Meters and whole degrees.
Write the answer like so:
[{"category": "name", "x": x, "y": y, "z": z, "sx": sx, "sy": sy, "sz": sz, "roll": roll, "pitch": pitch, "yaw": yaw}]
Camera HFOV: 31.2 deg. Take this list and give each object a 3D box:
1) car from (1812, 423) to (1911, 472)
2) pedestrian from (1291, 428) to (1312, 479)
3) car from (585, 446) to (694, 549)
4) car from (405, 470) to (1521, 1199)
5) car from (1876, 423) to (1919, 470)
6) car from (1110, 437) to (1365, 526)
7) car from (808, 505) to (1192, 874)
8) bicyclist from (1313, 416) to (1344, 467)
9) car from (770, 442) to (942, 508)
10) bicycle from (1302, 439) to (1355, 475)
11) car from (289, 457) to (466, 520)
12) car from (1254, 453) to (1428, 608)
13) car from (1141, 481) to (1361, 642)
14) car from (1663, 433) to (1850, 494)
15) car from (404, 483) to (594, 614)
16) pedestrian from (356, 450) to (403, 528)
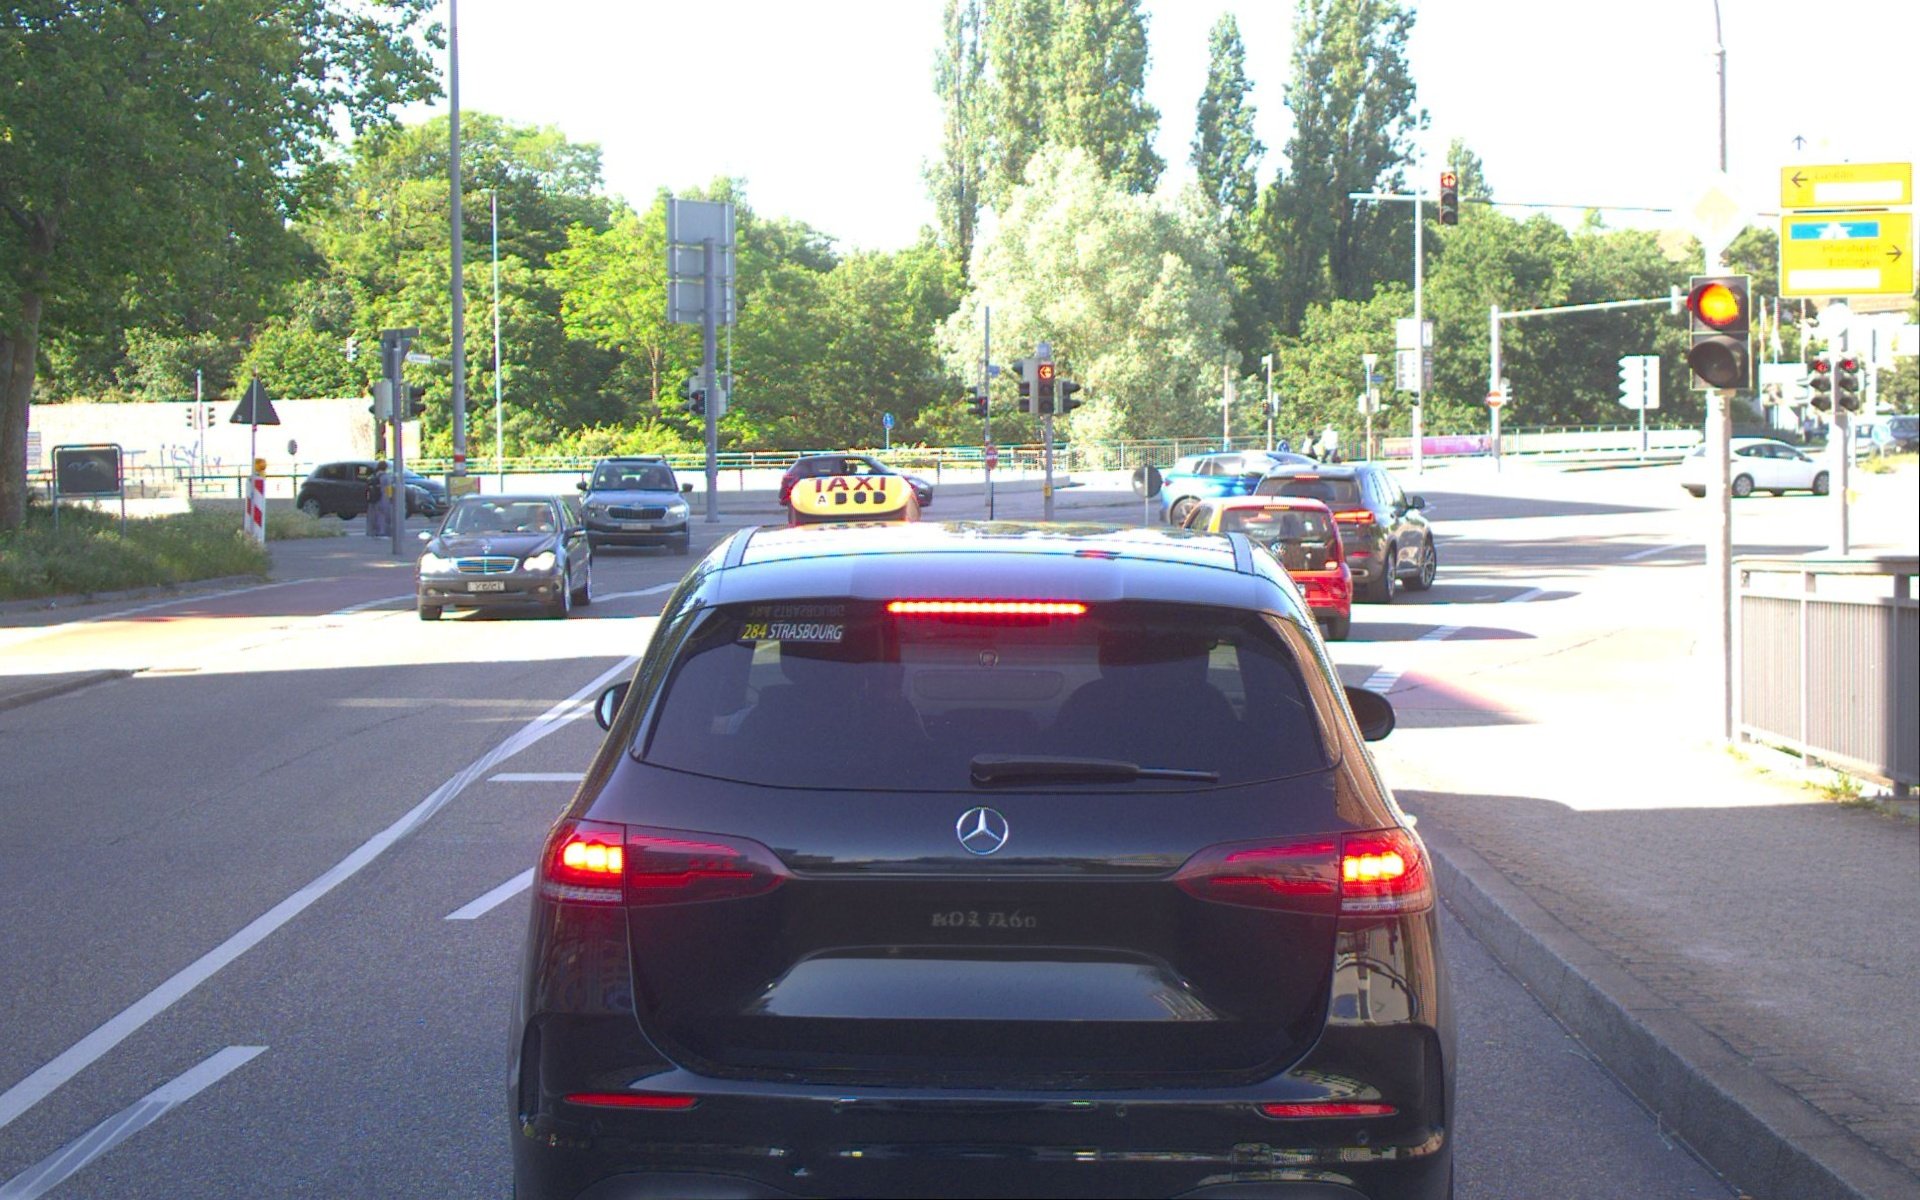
[{"category": "car", "x": 30.072, "y": -5.102, "z": 114.660, "sx": 1.882, "sy": 1.573, "sz": 3.992, "roll": 1, "pitch": 3, "yaw": 36}, {"category": "pedestrian", "x": 10.847, "y": -4.649, "z": 109.197, "sx": 0.451, "sy": 1.580, "sz": 0.500, "roll": 1, "pitch": 3, "yaw": 40}, {"category": "car", "x": -5.527, "y": -1.797, "z": 59.150, "sx": 1.804, "sy": 1.617, "sz": 4.002, "roll": 0, "pitch": 4, "yaw": -6}, {"category": "car", "x": -0.021, "y": 0.540, "z": 7.837, "sx": 1.878, "sy": 1.608, "sz": 4.000, "roll": 1, "pitch": 2, "yaw": -1}, {"category": "car", "x": 33.562, "y": -5.366, "z": 119.814, "sx": 1.882, "sy": 1.573, "sz": 3.992, "roll": 1, "pitch": 3, "yaw": 36}, {"category": "car", "x": 5.189, "y": -2.240, "z": 64.491, "sx": 4.398, "sy": 1.586, "sz": 1.919, "roll": 2, "pitch": 4, "yaw": 35}, {"category": "car", "x": 0.226, "y": 0.346, "z": 16.723, "sx": 1.640, "sy": 1.524, "sz": 3.474, "roll": -1, "pitch": 2, "yaw": 2}, {"category": "bicyclist", "x": 11.280, "y": -4.844, "z": 105.244, "sx": 0.527, "sy": 1.545, "sz": 0.805, "roll": 0, "pitch": 3, "yaw": 41}, {"category": "car", "x": -2.571, "y": -3.094, "z": 85.271, "sx": 3.988, "sy": 1.542, "sz": 1.890, "roll": 1, "pitch": 0, "yaw": 8}, {"category": "bicycle", "x": 11.281, "y": -4.377, "z": 105.274, "sx": 0.527, "sy": 1.046, "sz": 1.985, "roll": 0, "pitch": 3, "yaw": 41}, {"category": "car", "x": -14.265, "y": -2.733, "z": 84.336, "sx": 3.987, "sy": 1.492, "sz": 1.744, "roll": 0, "pitch": 1, "yaw": 3}, {"category": "car", "x": 5.024, "y": -0.961, "z": 44.946, "sx": 1.722, "sy": 1.805, "sz": 4.295, "roll": 1, "pitch": 4, "yaw": 13}, {"category": "car", "x": 3.091, "y": -0.456, "z": 37.134, "sx": 1.721, "sy": 1.516, "sz": 3.487, "roll": -1, "pitch": 4, "yaw": -6}, {"category": "car", "x": 19.926, "y": -3.430, "z": 85.993, "sx": 4.300, "sy": 1.360, "sz": 2.000, "roll": -3, "pitch": 4, "yaw": -29}, {"category": "car", "x": -5.473, "y": -0.658, "z": 41.267, "sx": 1.741, "sy": 1.402, "sz": 4.202, "roll": -1, "pitch": 3, "yaw": -1}, {"category": "pedestrian", "x": -11.475, "y": -2.201, "z": 67.986, "sx": 0.705, "sy": 1.520, "sz": 0.743, "roll": 1, "pitch": 2, "yaw": 10}]
